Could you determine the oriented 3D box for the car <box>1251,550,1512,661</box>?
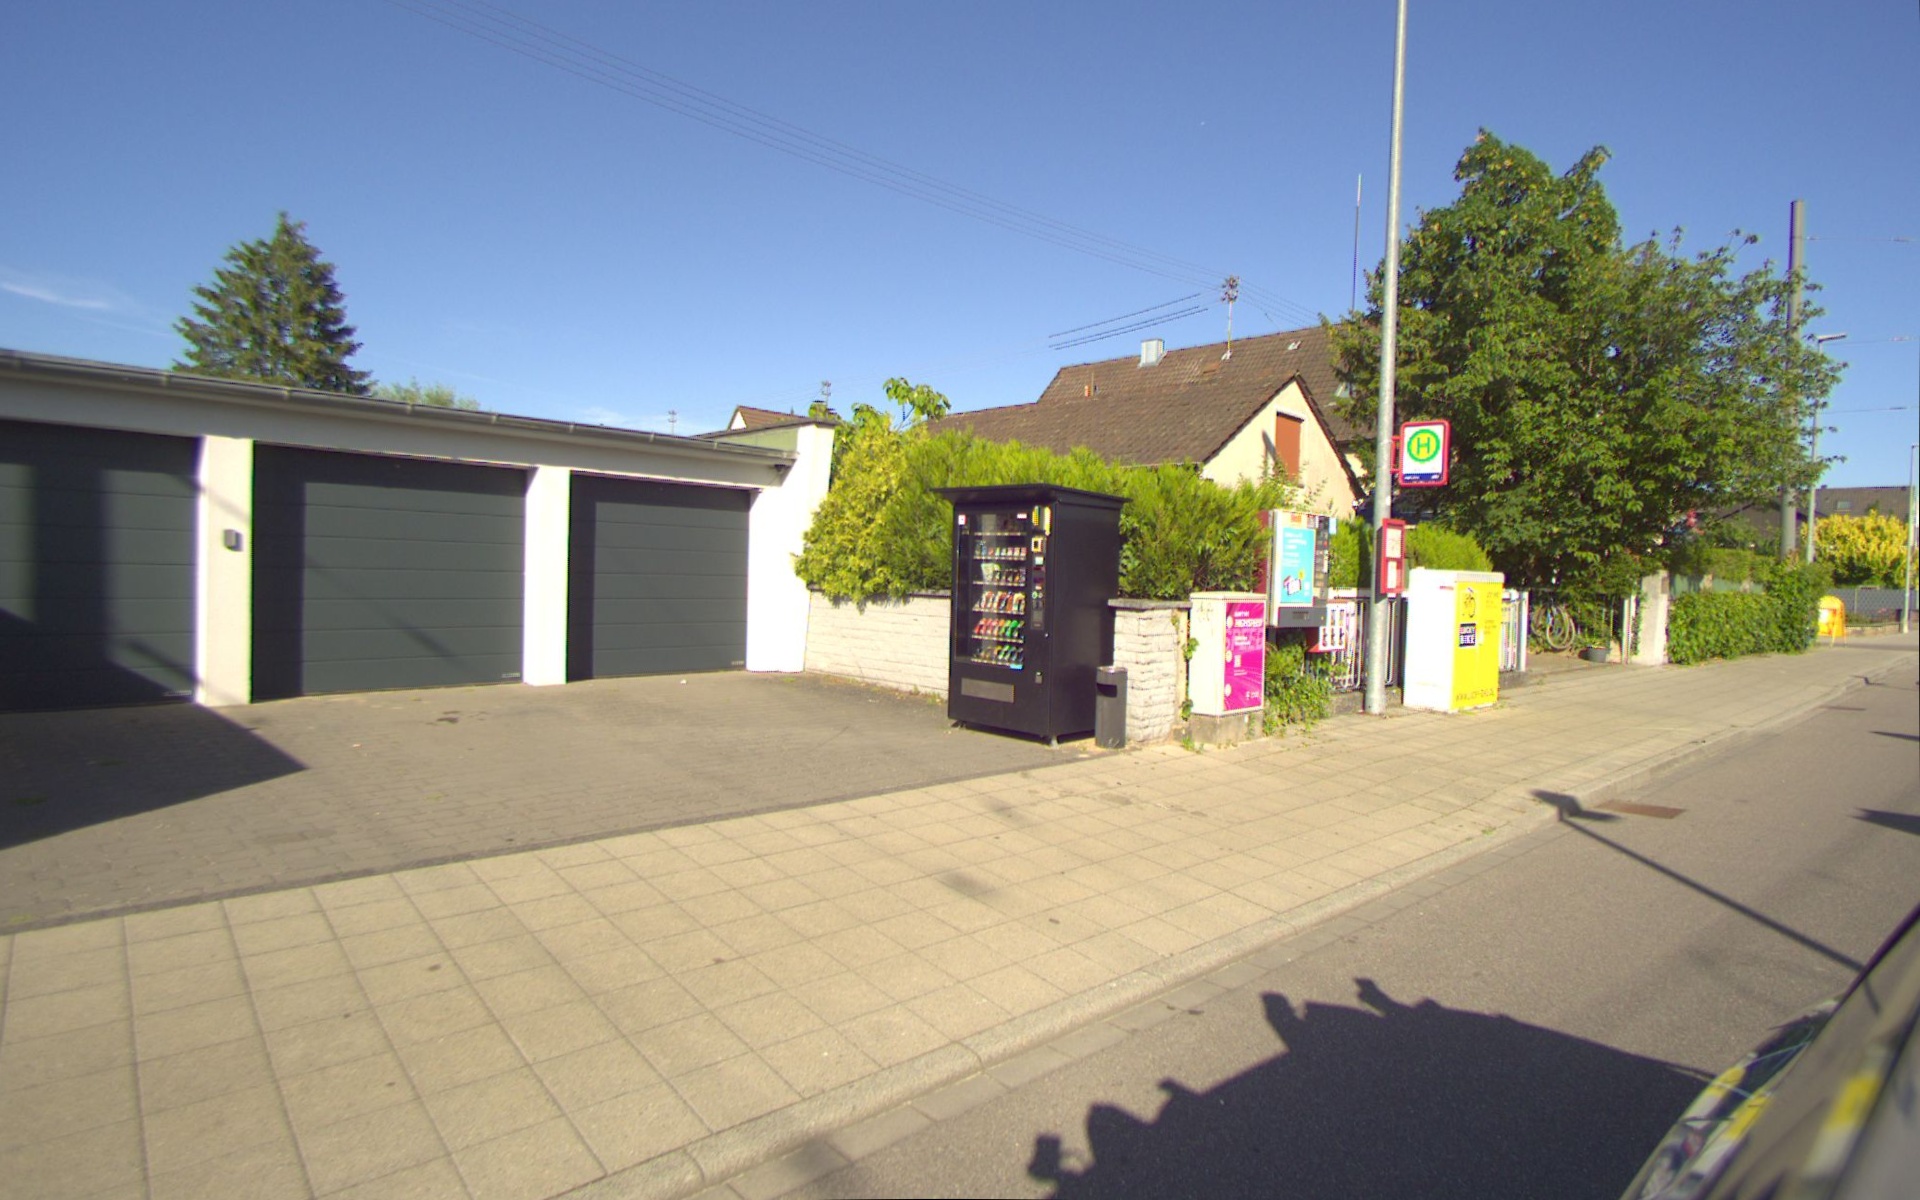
[{"bbox_3d":[7.158,0.011,17.359,3.756,1.588,1.727,5,4,39],"label":"car"}]
